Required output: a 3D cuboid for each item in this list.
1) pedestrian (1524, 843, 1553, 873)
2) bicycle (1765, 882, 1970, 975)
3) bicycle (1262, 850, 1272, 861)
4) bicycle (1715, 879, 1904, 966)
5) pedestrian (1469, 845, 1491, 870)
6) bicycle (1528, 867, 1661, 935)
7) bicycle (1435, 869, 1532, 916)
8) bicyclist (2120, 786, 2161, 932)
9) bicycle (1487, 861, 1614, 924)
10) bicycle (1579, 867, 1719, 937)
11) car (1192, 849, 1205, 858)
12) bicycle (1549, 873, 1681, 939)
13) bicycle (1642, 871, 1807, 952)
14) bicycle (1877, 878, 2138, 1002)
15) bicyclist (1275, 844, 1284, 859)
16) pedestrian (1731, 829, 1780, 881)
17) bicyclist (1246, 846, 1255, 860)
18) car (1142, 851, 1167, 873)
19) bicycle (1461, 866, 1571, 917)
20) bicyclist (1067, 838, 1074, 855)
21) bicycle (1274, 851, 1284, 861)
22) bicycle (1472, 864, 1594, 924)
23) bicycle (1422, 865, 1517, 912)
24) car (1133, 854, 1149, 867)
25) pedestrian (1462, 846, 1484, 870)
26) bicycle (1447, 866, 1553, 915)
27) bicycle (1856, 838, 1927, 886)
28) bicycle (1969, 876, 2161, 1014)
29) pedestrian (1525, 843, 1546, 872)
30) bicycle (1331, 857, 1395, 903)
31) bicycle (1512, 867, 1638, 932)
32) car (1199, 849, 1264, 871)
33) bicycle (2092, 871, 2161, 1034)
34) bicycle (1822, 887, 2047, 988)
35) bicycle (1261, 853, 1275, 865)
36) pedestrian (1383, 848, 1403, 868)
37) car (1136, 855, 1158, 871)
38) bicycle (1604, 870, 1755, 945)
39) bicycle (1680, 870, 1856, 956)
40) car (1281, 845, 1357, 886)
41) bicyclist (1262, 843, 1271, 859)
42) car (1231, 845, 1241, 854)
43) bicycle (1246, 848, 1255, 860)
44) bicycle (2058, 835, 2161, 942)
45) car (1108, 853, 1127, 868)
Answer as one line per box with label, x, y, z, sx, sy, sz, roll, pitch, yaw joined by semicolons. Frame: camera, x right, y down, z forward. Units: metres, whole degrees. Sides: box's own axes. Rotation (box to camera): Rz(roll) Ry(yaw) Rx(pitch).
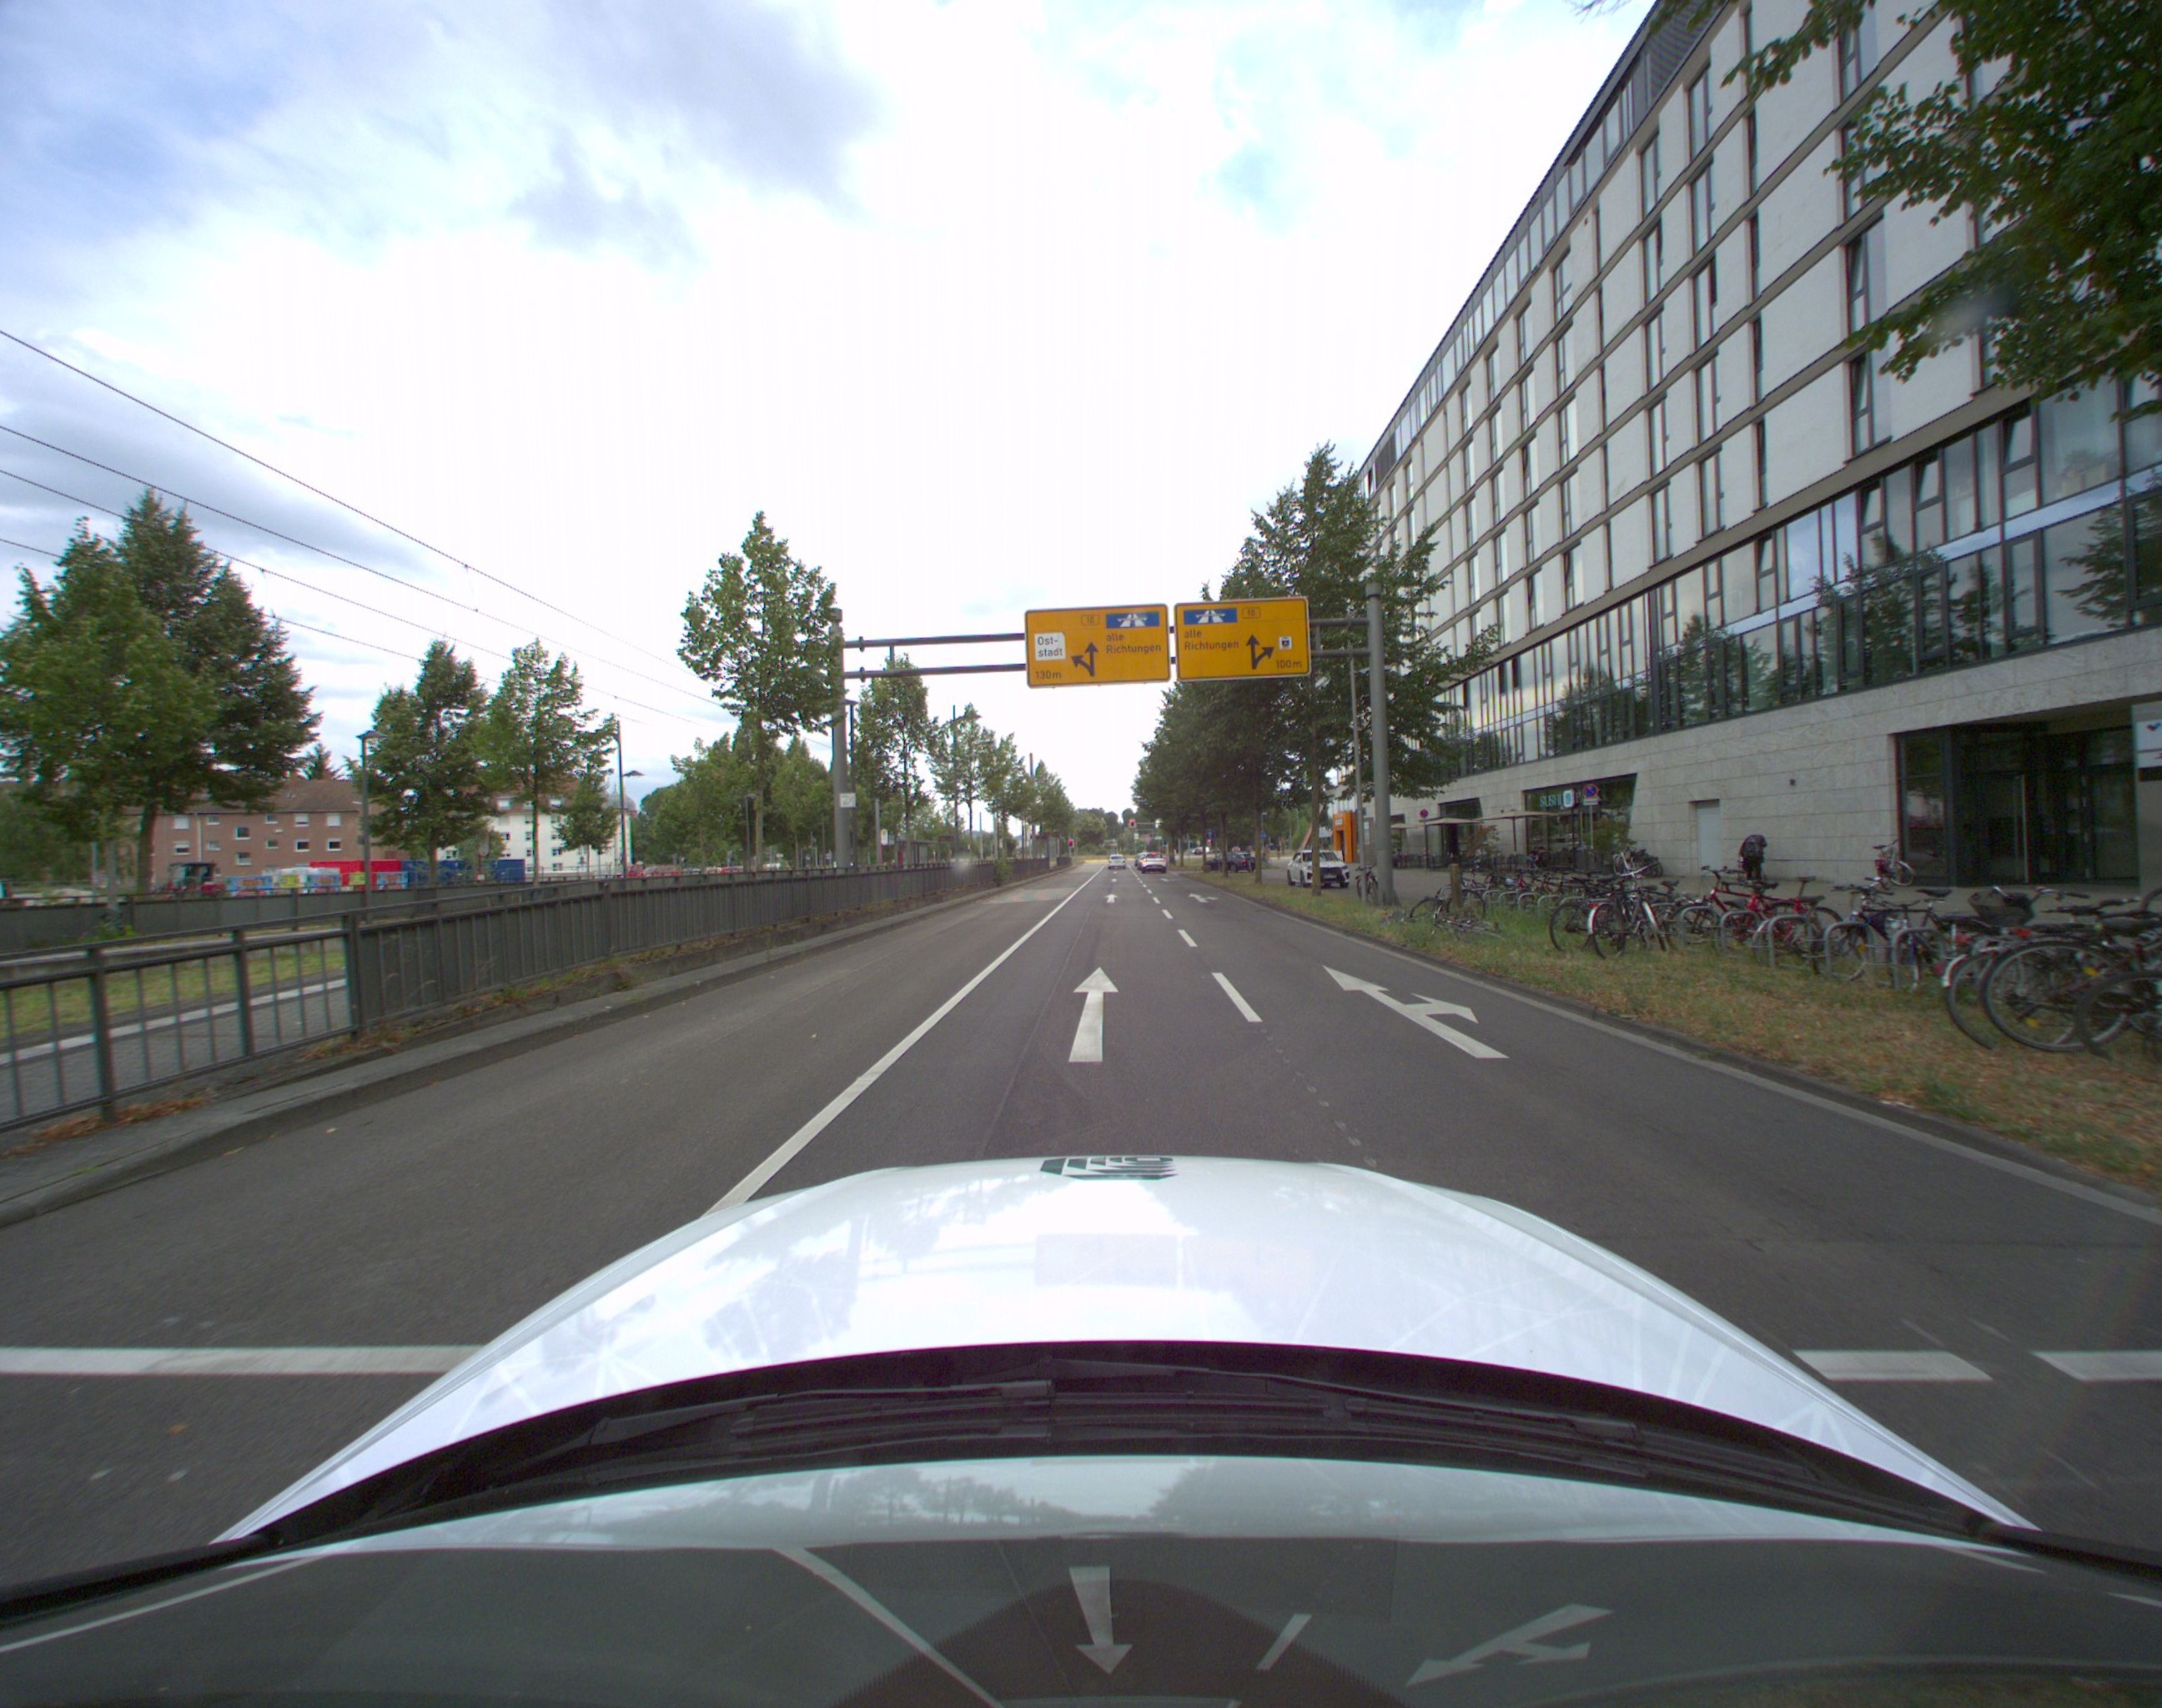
pedestrian;18.738;0.169;33.382;0.766;1.192;1.111;-2;0;17
bicycle;8.184;0.766;8.500;1.712;0.906;0.587;1;0;-6
bicycle;19.899;0.209;87.303;0.670;1.143;2.008;-2;0;3
bicycle;8.148;0.753;9.136;1.712;0.906;0.587;1;0;-6
pedestrian;19.896;0.183;40.627;0.715;1.192;0.760;-2;0;4
bicycle;8.431;0.769;13.395;1.927;1.065;0.542;1;0;-7
bicycle;8.712;0.827;17.643;1.855;0.951;0.501;1;0;-1
bicyclist;13.323;0.027;9.436;0.993;1.737;1.130;-5;0;1
bicycle;8.456;0.680;14.706;1.924;1.065;0.641;1;0;-1
bicycle;8.445;0.705;12.127;1.741;0.974;0.608;1;0;-6
car;24.115;-0.015;166.806;1.988;1.791;3.998;0;-1;-1
bicycle;8.345;0.808;12.750;1.741;0.974;0.608;1;0;-6
bicycle;8.236;0.731;10.445;1.741;0.974;0.608;1;0;-6
bicycle;8.115;0.739;7.159;1.770;1.012;0.609;1;0;-6
bicyclist;21.150;-0.233;86.956;0.721;1.582;0.990;-2;0;3
pedestrian;18.822;0.031;22.744;0.752;1.407;0.723;-2;0;10
bicyclist;21.916;-0.159;105.184;0.863;1.789;1.175;-2;0;1
car;5.717;0.601;63.620;1.771;1.656;4.026;-2;0;3
bicycle;8.606;0.741;16.155;1.855;0.951;0.612;1;0;-1
bicyclist;-1.298;-0.860;97.811;0.727;1.882;0.735;-3;13;-3
bicycle;21.117;0.208;86.798;0.670;1.042;2.008;-2;0;3
bicycle;8.562;0.755;15.463;1.924;1.065;0.705;1;0;-1
bicycle;8.717;0.762;18.310;1.855;0.995;0.574;1;0;-1
car;6.937;0.775;93.883;1.619;1.448;3.911;-1;0;1
pedestrian;19.946;0.191;41.478;0.716;1.192;0.759;-2;0;1
bicycle;8.672;0.748;16.895;1.855;0.951;0.652;1;0;-1
bicycle;18.749;0.180;18.835;1.605;1.026;0.605;-3;0;-25
bicycle;8.177;0.691;6.465;1.770;1.012;0.609;0;0;-6
pedestrian;19.480;0.159;34.922;0.712;1.192;0.763;-2;0;24
bicycle;7.266;0.650;21.105;0.709;1.115;2.199;1;0;-5
bicycle;8.467;0.773;13.974;1.927;1.065;0.542;1;0;-7
car;11.061;0.492;60.086;1.954;1.475;4.821;-2;0;-32
bicycle;8.133;0.671;5.635;1.663;1.090;0.525;0;0;-1
bicycle;8.238;0.794;7.884;1.712;0.906;0.587;1;0;-6
bicycle;15.809;0.443;68.937;0.628;0.956;2.106;-2;0;-2
pedestrian;19.254;0.250;50.317;0.893;1.228;0.952;-2;0;7
car;6.297;0.866;78.295;1.781;1.432;4.311;-2;0;1
bicycle;8.272;0.736;11.284;1.741;0.974;0.608;1;0;-6
bicycle;8.242;0.698;9.794;1.712;0.974;0.608;1;0;-6
car;9.859;0.435;34.122;1.931;1.552;4.595;-2;0;2
bicyclist;19.860;-0.317;87.131;0.722;1.582;0.990;-2;0;2
car;30.754;-0.960;161.052;1.771;1.636;4.417;-2;1;12
bicycle;21.885;-0.016;105.179;0.702;1.505;2.009;-2;0;3
bicycle;13.444;0.407;9.671;0.899;1.235;2.269;-5;0;2
car;3.678;0.621;83.080;1.767;1.448;3.911;-2;0;1
